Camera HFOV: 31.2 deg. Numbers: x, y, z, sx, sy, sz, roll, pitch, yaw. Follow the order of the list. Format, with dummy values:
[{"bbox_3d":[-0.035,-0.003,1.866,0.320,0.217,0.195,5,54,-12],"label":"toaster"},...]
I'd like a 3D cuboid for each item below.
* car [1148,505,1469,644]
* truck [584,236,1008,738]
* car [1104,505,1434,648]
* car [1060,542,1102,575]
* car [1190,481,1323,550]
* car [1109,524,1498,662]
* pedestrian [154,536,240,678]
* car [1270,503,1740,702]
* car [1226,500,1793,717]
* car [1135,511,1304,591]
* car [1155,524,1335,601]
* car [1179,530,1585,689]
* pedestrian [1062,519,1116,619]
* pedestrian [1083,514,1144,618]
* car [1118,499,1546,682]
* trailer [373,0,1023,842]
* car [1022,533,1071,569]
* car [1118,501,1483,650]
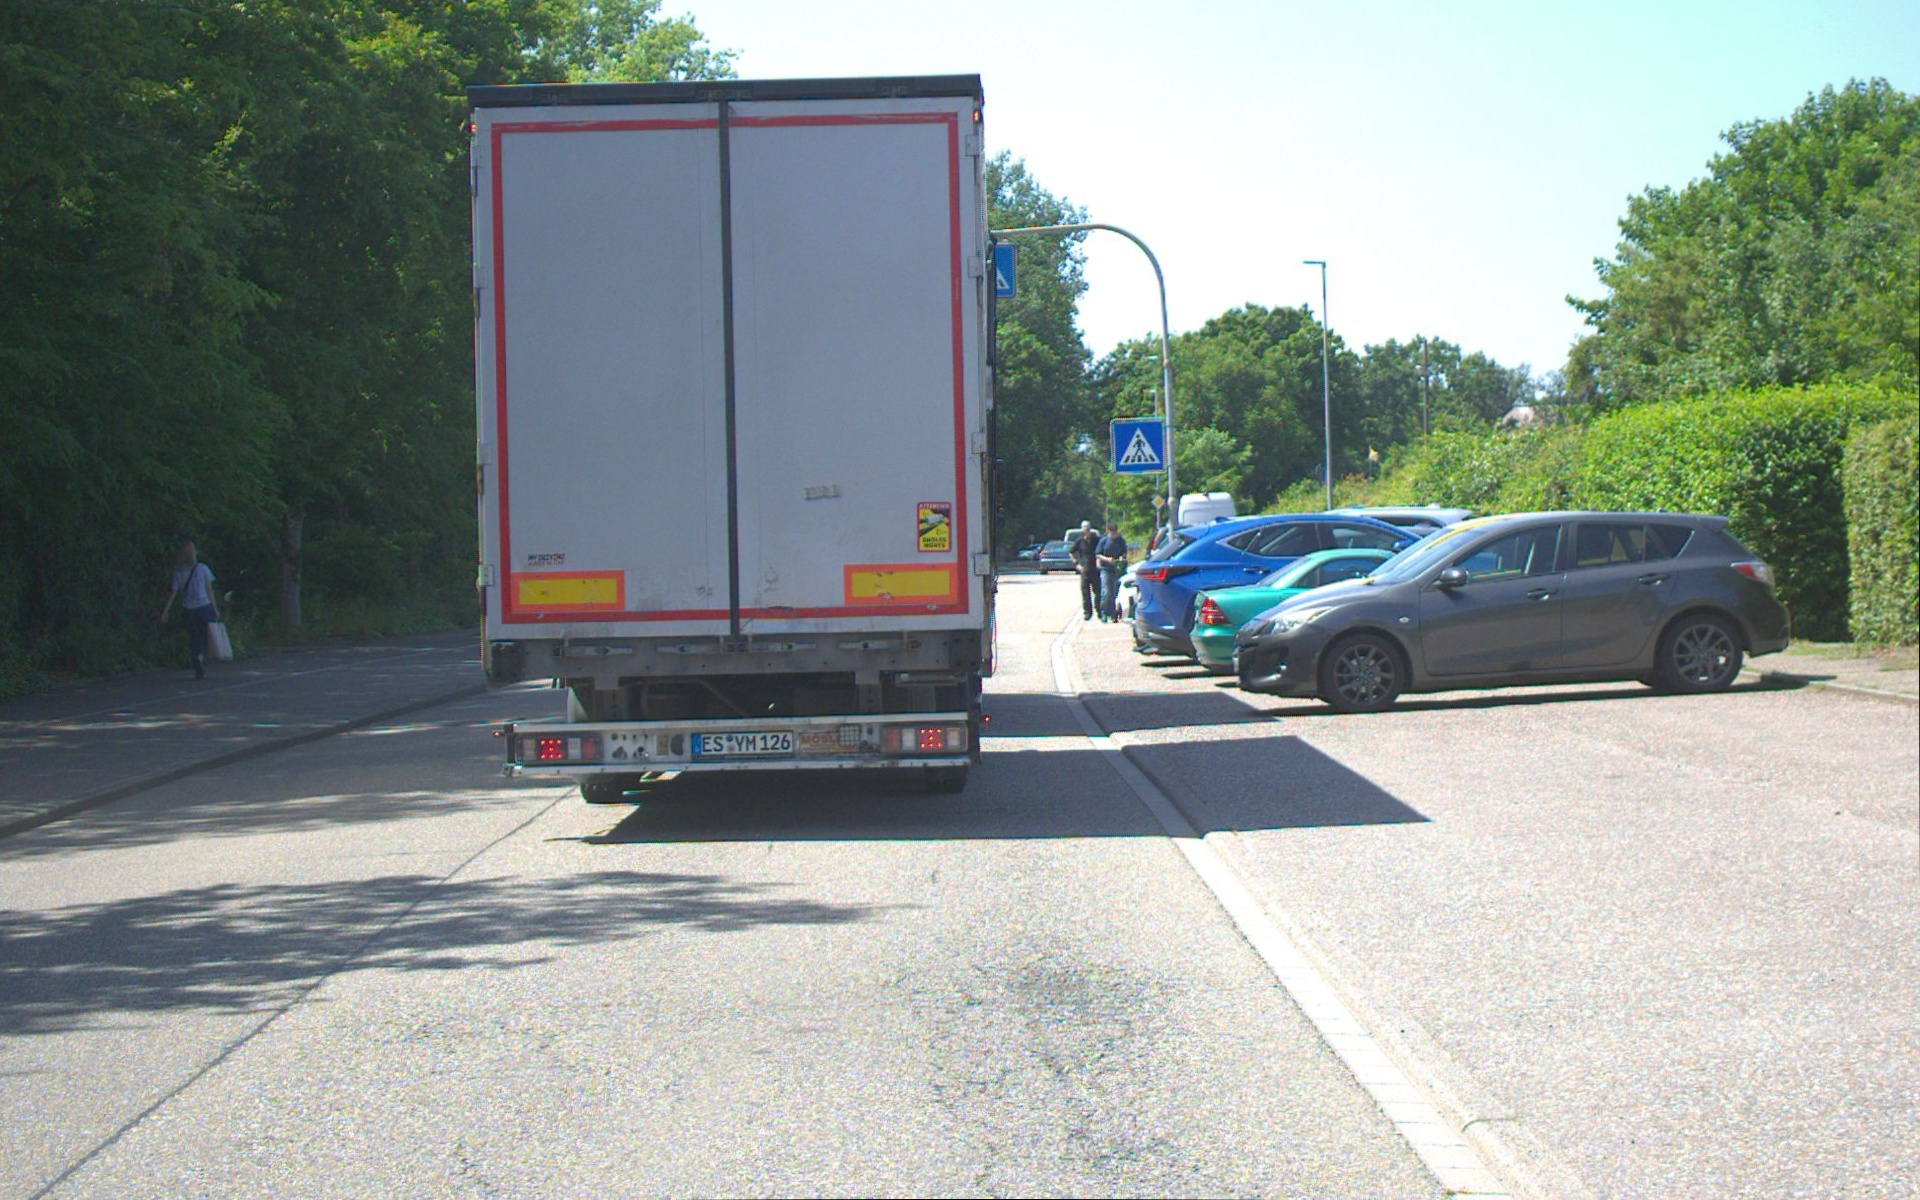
[{"bbox_3d":[4.676,-0.356,46.579,4.125,1.651,1.887,-3,1,1],"label":"car"},{"bbox_3d":[-1.210,-0.911,29.061,3.114,3.712,6.414,-1,1,0],"label":"truck"},{"bbox_3d":[4.373,-0.337,49.127,4.404,1.692,1.877,-4,1,-1],"label":"car"},{"bbox_3d":[5.569,-1.921,158.673,1.618,1.419,3.669,-2,1,-2],"label":"car"},{"bbox_3d":[9.238,-2.639,107.308,3.957,1.792,1.813,-4,-1,4],"label":"car"},{"bbox_3d":[3.908,-0.095,39.491,4.129,1.434,1.815,-2,1,-6],"label":"car"},{"bbox_3d":[-8.801,0.070,39.655,0.828,1.617,0.783,0,1,-1],"label":"pedestrian"},{"bbox_3d":[4.791,0.013,30.603,3.801,1.450,1.774,-4,1,0],"label":"car"},{"bbox_3d":[4.322,0.054,27.514,4.163,1.490,1.883,-3,1,0],"label":"car"},{"bbox_3d":[6.523,-1.247,86.672,3.956,1.759,1.814,-3,1,-2],"label":"car"},{"bbox_3d":[6.666,-0.889,80.659,3.956,1.613,1.814,-3,1,-2],"label":"car"},{"bbox_3d":[4.081,0.082,33.688,3.735,1.264,1.628,-4,1,2],"label":"car"},{"bbox_3d":[2.441,-0.586,64.977,0.822,1.828,0.792,-4,1,6],"label":"pedestrian"},{"bbox_3d":[2.778,-0.617,62.062,0.908,1.792,0.935,-4,1,6],"label":"pedestrian"},{"bbox_3d":[3.890,-0.119,36.447,4.238,1.628,1.823,-4,1,0],"label":"car"},{"bbox_3d":[-1.234,-1.000,22.642,3.113,4.088,11.537,-1,1,1],"label":"trailer"},{"bbox_3d":[3.656,-2.078,145.310,1.780,1.481,4.001,-1,1,-3],"label":"car"},{"bbox_3d":[4.163,-0.291,42.502,4.235,1.648,1.900,-2,-1,-1],"label":"car"}]
